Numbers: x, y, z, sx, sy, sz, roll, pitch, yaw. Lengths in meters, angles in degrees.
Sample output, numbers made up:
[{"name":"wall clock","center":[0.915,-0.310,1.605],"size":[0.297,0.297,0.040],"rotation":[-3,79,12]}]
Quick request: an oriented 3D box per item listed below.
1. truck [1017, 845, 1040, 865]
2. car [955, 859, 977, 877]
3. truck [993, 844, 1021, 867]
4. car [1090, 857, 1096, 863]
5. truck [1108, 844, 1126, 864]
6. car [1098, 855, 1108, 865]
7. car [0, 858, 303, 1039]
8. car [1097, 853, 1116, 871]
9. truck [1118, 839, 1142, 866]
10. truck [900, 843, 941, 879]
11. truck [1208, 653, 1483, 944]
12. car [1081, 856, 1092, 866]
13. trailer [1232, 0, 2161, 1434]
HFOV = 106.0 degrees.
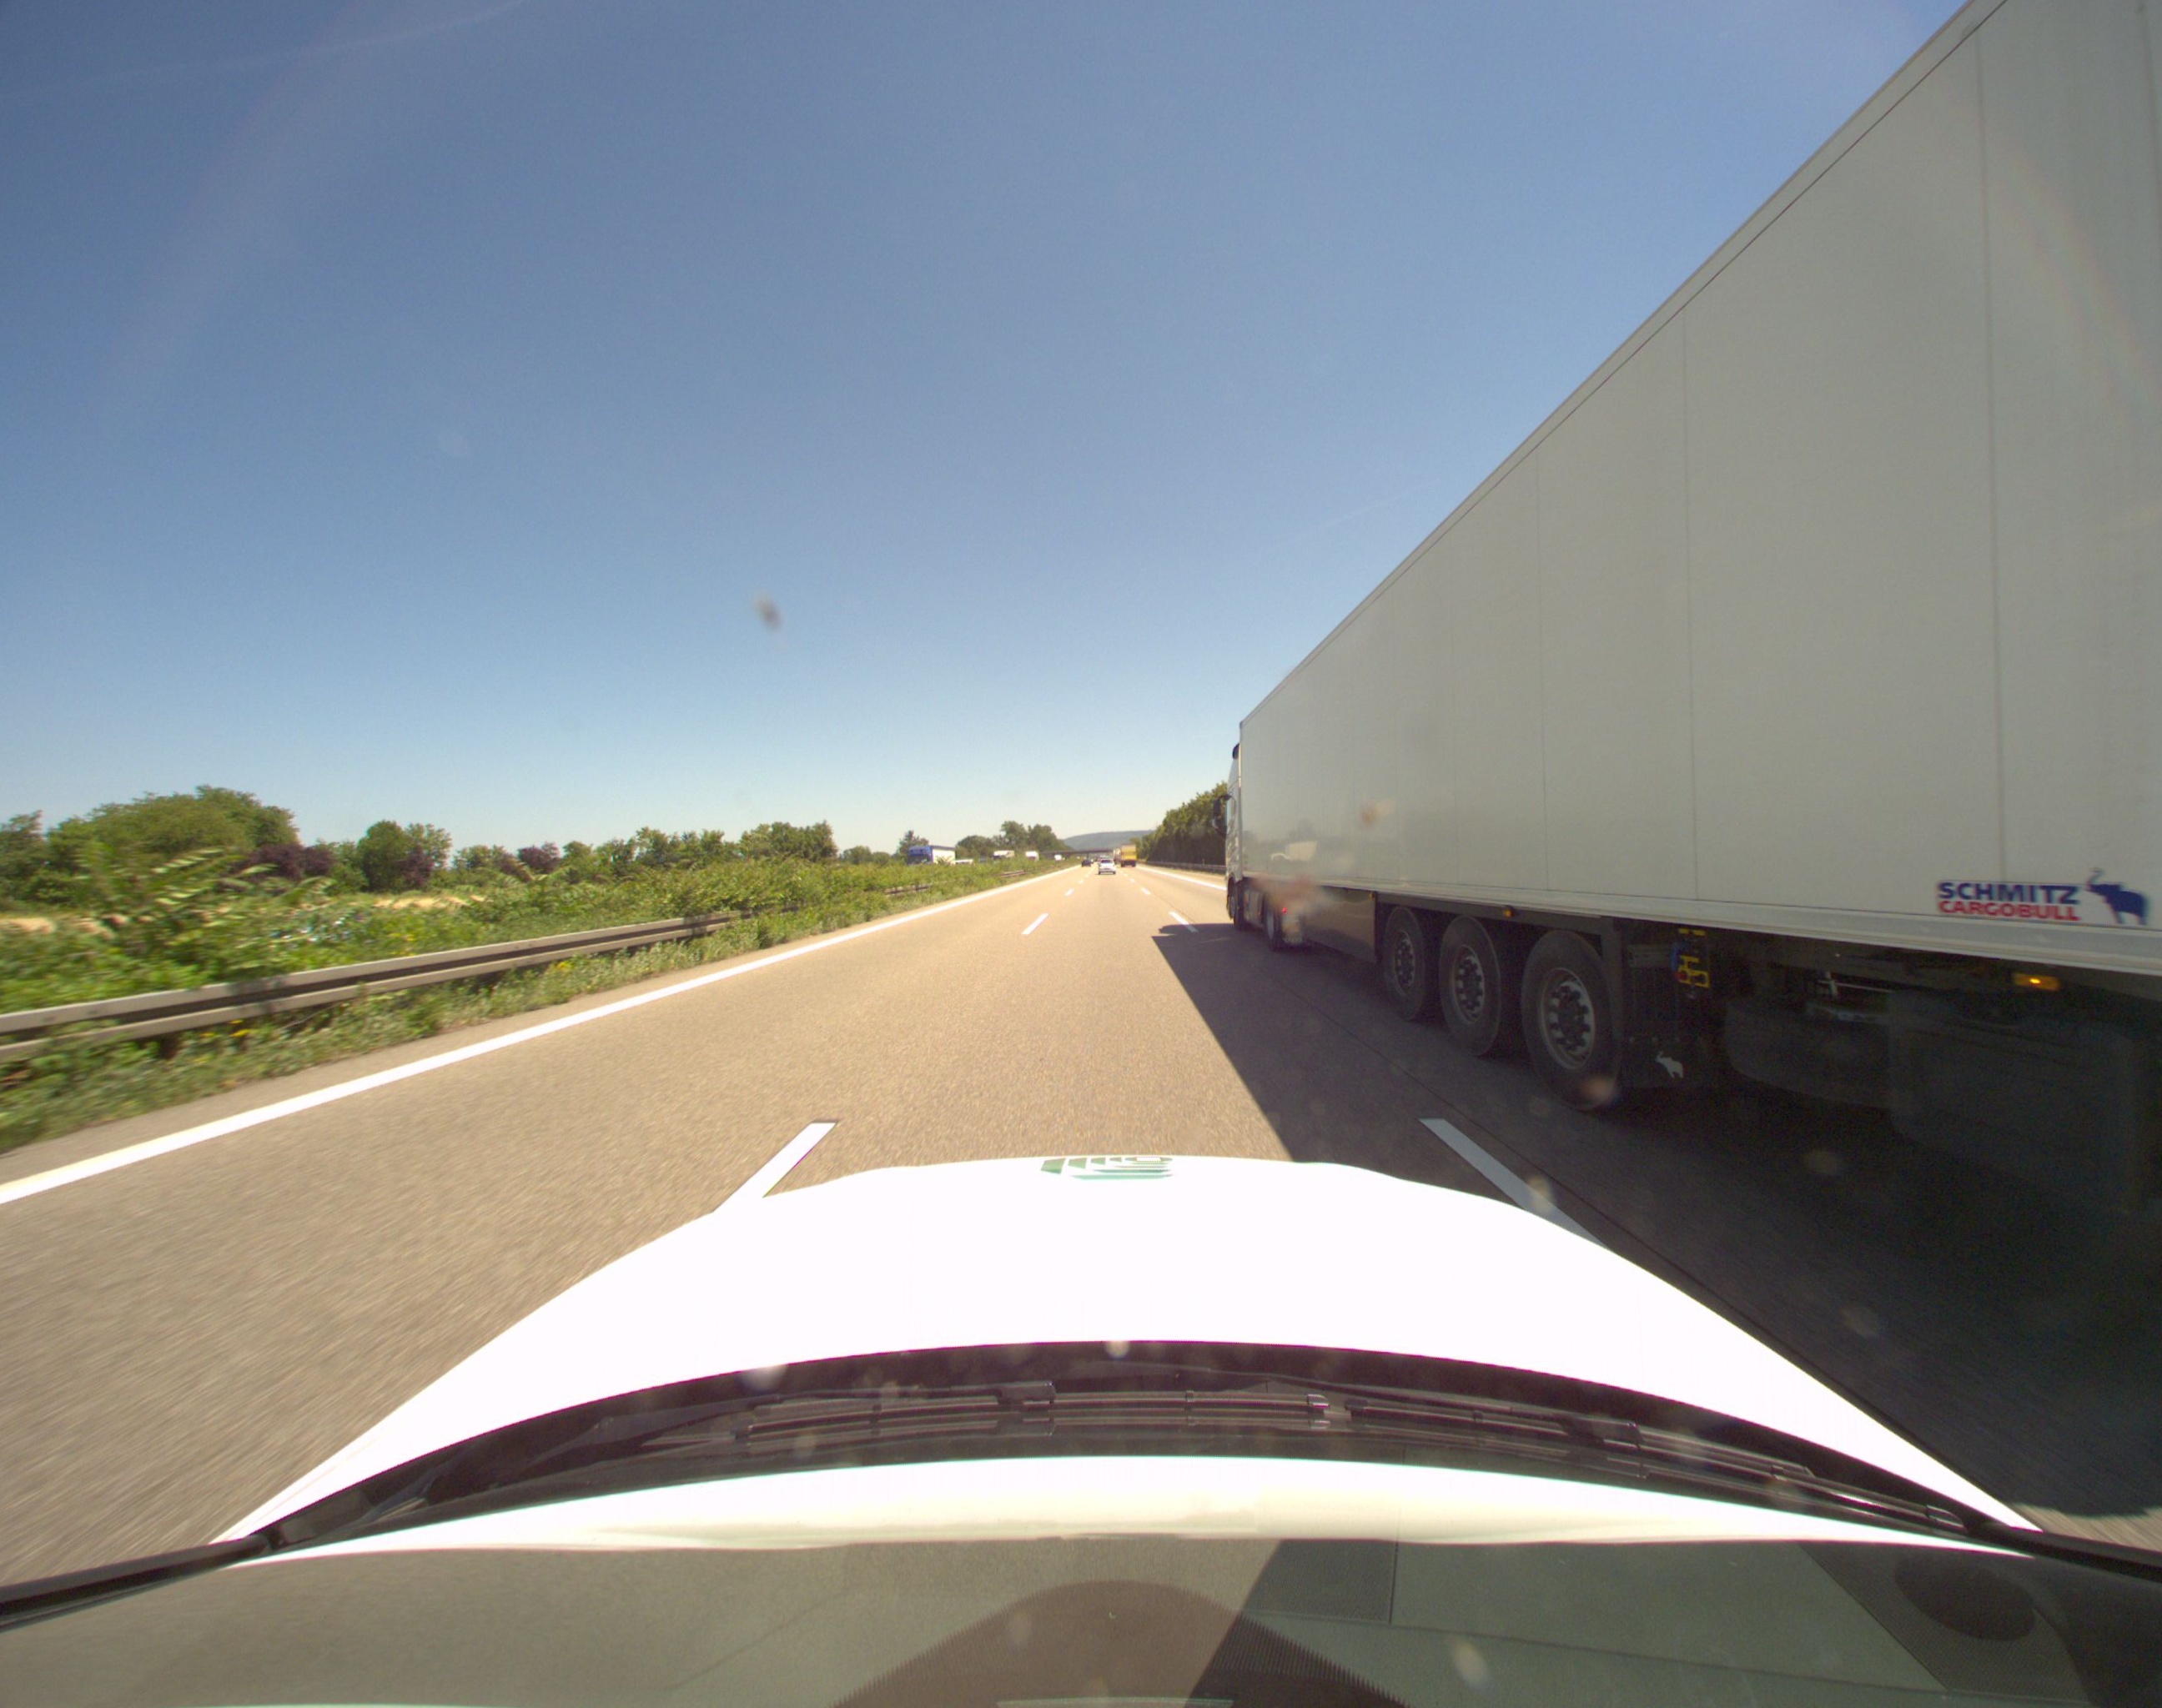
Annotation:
[{"name":"truck","center":[-12.306,0.224,191.409],"size":[3.856,4.664,13.867],"rotation":[-1,0,2]},{"name":"car","center":[-13.325,1.558,94.392],"size":[1.832,2.013,4.002],"rotation":[-1,0,2]},{"name":"truck","center":[-14.880,0.294,164.830],"size":[3.856,4.345,13.867],"rotation":[-1,0,2]},{"name":"car","center":[3.423,1.653,231.779],"size":[1.788,1.551,4.002],"rotation":[-1,0,2]},{"name":"truck","center":[8.931,0.077,201.773],"size":[4.255,4.652,13.867],"rotation":[-1,0,2]},{"name":"car","center":[3.797,1.029,142.070],"size":[1.779,1.712,4.001],"rotation":[-1,0,1]},{"name":"car","center":[-12.142,1.022,9.661],"size":[1.849,1.878,4.002],"rotation":[-2,0,2]},{"name":"car","center":[2.478,0.773,79.528],"size":[1.726,1.684,4.001],"rotation":[-2,0,1]},{"name":"truck","center":[8.501,-0.297,141.863],"size":[3.856,4.345,13.867],"rotation":[-1,0,2]},{"name":"truck","center":[-17.912,0.730,91.328],"size":[3.122,3.832,5.835],"rotation":[-2,0,1]},{"name":"truck","center":[4.475,-0.837,15.528],"size":[3.206,4.345,6.592],"rotation":[-1,0,1]},{"name":"car","center":[0.983,1.302,153.576],"size":[1.986,1.712,4.001],"rotation":[-1,0,1]},{"name":"trailer","center":[4.308,-0.821,8.507],"size":[3.206,4.345,13.632],"rotation":[-1,0,1]}]
